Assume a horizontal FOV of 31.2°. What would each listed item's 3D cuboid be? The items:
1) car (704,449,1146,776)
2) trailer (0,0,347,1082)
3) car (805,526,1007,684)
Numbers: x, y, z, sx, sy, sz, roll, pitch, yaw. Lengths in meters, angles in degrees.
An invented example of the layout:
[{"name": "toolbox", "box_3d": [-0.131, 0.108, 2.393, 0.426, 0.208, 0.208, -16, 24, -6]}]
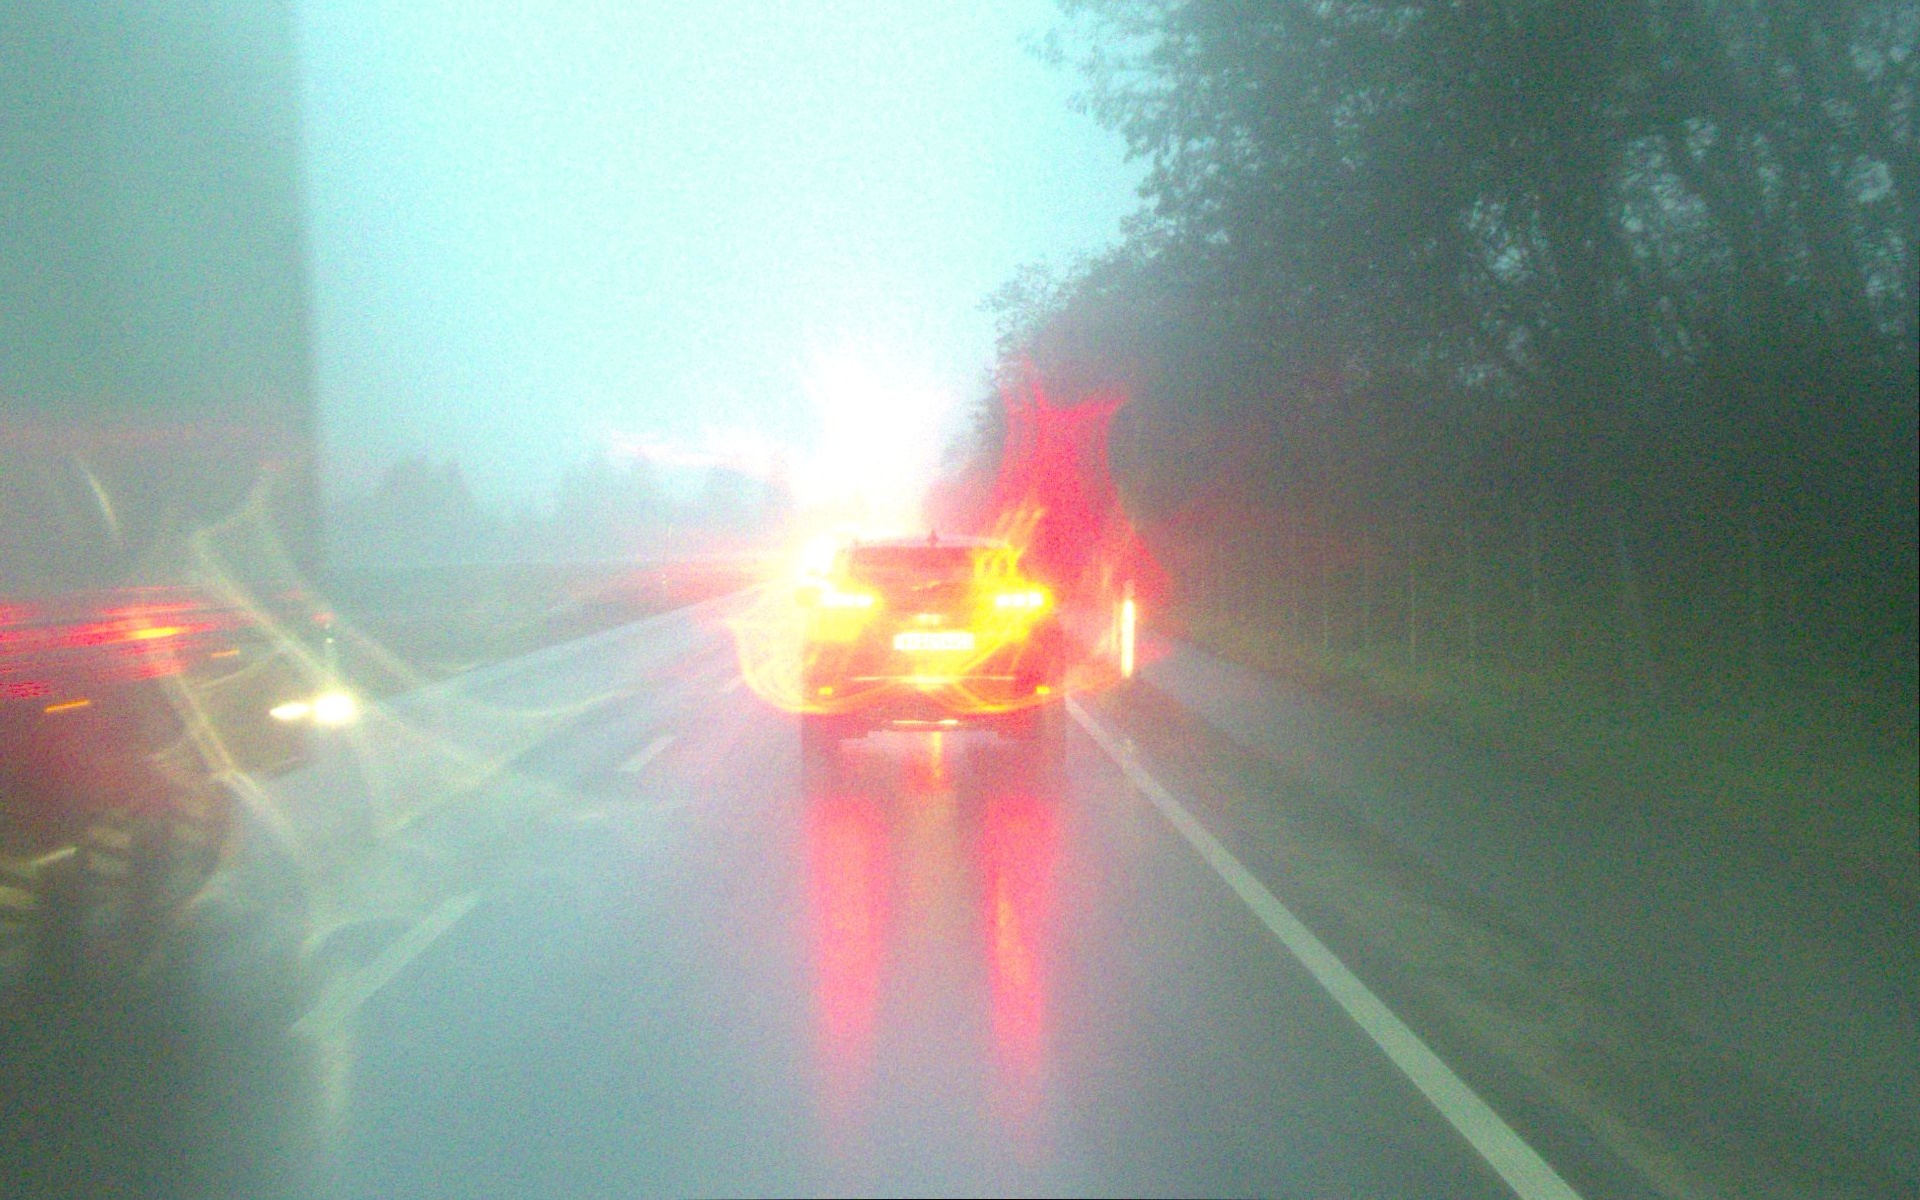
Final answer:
[{"name": "car", "box_3d": [-0.229, 0.045, 25.004, 2.820, 2.070, 5.804, 1, 1, 0]}, {"name": "trailer", "box_3d": [-4.069, -0.656, 9.457, 2.701, 4.066, 12.382, -1, 1, -1]}, {"name": "car", "box_3d": [-0.703, 0.027, 47.376, 2.592, 2.007, 5.804, 1, 1, 0]}]
